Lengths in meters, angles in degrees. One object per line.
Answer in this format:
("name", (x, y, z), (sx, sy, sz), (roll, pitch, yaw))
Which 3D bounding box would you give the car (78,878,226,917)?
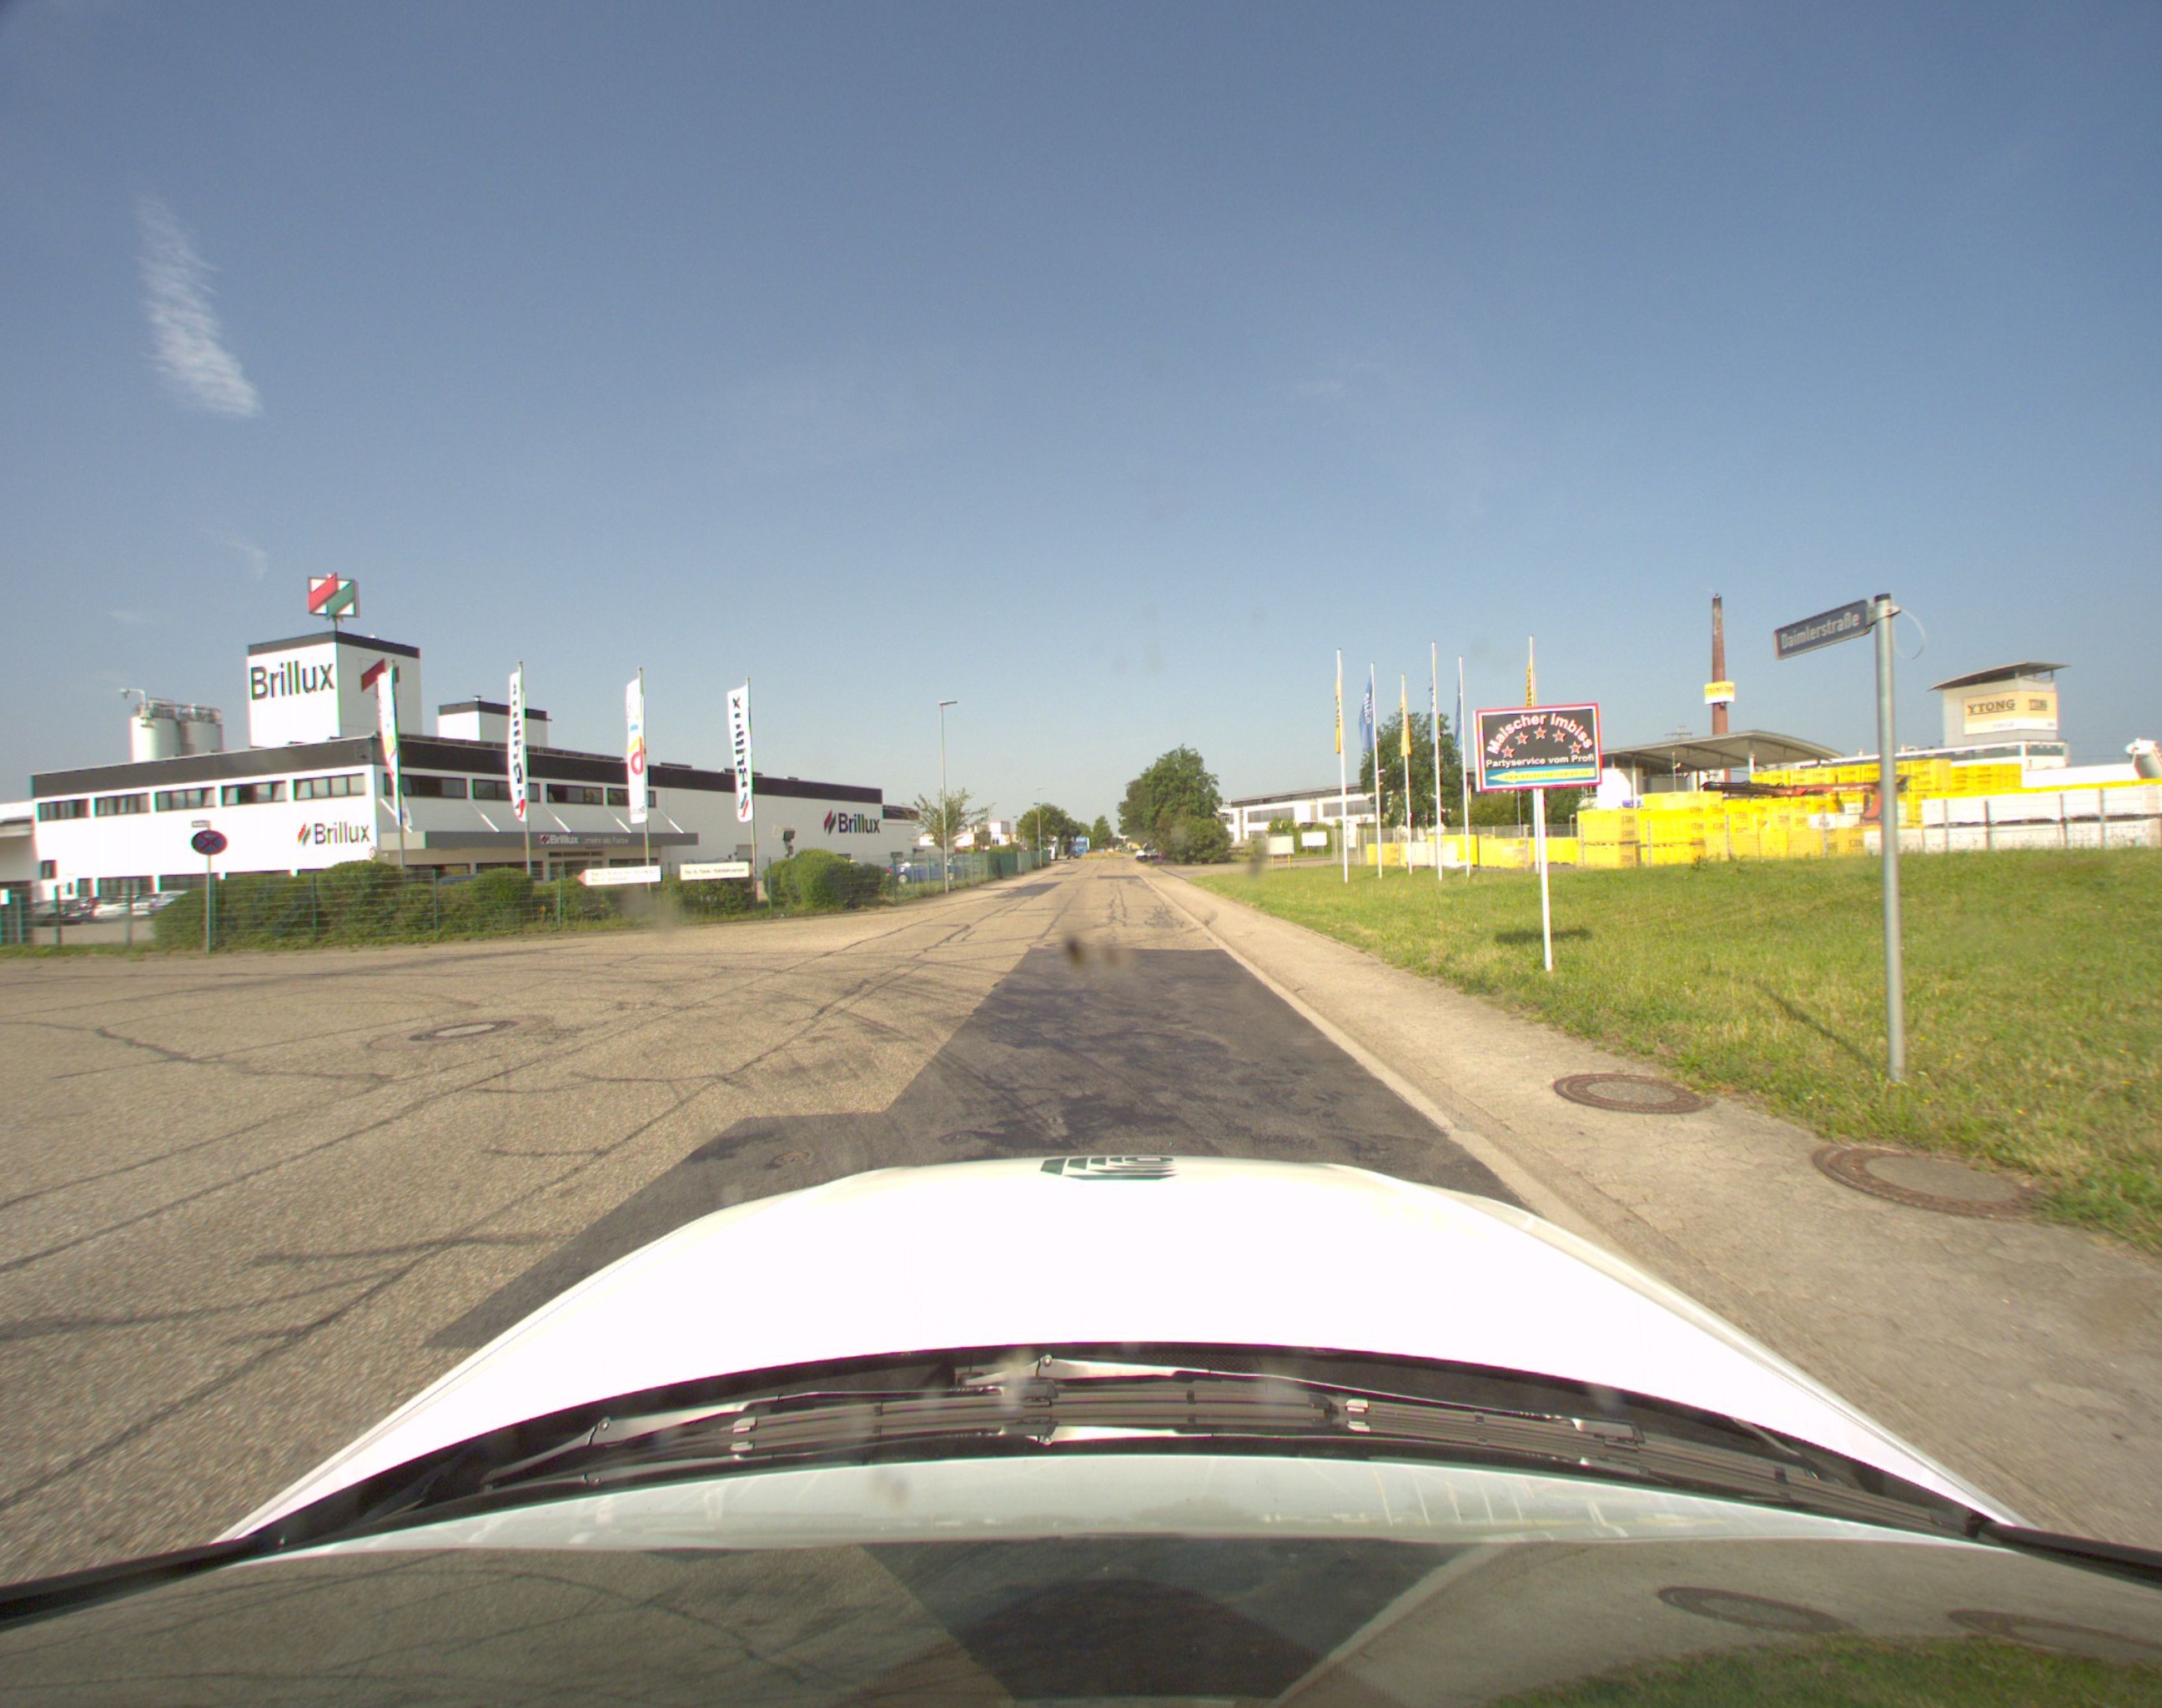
("car", (-49.902, 2.292, 43.939), (1.986, 1.702, 5.063), (-3, 0, 1))

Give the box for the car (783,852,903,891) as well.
("car", (-9.434, 0.685, 32.482), (4.147, 1.368, 1.870), (-2, 0, 2))

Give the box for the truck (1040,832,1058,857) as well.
("truck", (-5.057, -1.487, 129.514), (2.699, 3.922, 4.298), (0, -1, 1))

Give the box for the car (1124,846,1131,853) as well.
("car", (12.168, -1.085, 214.207), (1.785, 1.750, 4.001), (0, 0, 1))

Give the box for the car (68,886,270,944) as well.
("car", (-26.206, 1.701, 23.589), (1.624, 1.303, 3.556), (-3, 0, 5))

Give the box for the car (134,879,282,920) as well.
("car", (-44.504, 2.280, 41.734), (1.986, 1.702, 5.063), (-3, 0, 1))

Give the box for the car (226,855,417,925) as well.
("car", (-21.340, 1.009, 22.884), (4.608, 1.752, 2.164), (-2, 0, 23))

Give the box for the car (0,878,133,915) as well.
("car", (-55.709, 2.295, 44.375), (1.986, 1.702, 5.063), (-3, 0, 1))

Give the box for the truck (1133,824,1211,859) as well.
("truck", (9.931, -1.341, 89.365), (8.180, 3.370, 2.741), (-3, -1, 0))

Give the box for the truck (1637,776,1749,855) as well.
("truck", (32.063, -1.917, 42.808), (2.546, 3.876, 3.973), (0, -1, -20))

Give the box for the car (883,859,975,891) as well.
("car", (-8.555, 1.147, 46.043), (4.669, 1.444, 2.079), (-4, 0, 1))

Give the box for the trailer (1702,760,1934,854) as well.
("trailer", (33.820, -1.949, 37.894), (2.486, 3.876, 7.748), (0, -1, -20))

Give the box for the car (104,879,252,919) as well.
("car", (-47.549, 2.305, 43.078), (1.986, 1.702, 5.063), (-3, 0, 1))

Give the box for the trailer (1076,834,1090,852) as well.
("trailer", (0.565, -2.358, 183.656), (2.820, 3.843, 12.040), (0, 0, 2))

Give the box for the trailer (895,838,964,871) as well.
("trailer", (-19.466, 0.116, 106.081), (2.462, 4.041, 13.952), (0, 0, 18))

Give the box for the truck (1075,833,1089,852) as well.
("truck", (0.238, -2.427, 173.648), (2.815, 3.825, 9.676), (0, 0, 2))

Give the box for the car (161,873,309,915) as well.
("car", (-41.753, 1.934, 40.415), (1.988, 1.702, 5.060), (-3, 0, -1))

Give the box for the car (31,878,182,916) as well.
("car", (-52.971, 2.298, 44.480), (1.986, 1.702, 5.063), (-3, 0, 1))

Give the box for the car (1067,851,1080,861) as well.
("car", (-1.296, 0.269, 135.224), (1.987, 1.449, 4.420), (-4, 0, 0))

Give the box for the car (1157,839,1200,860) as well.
("car", (9.363, -0.415, 78.731), (3.970, 1.837, 2.002), (-2, 0, 3))

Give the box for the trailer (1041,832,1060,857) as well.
("trailer", (-4.949, -1.461, 133.878), (2.689, 3.922, 7.577), (0, 0, 1))
